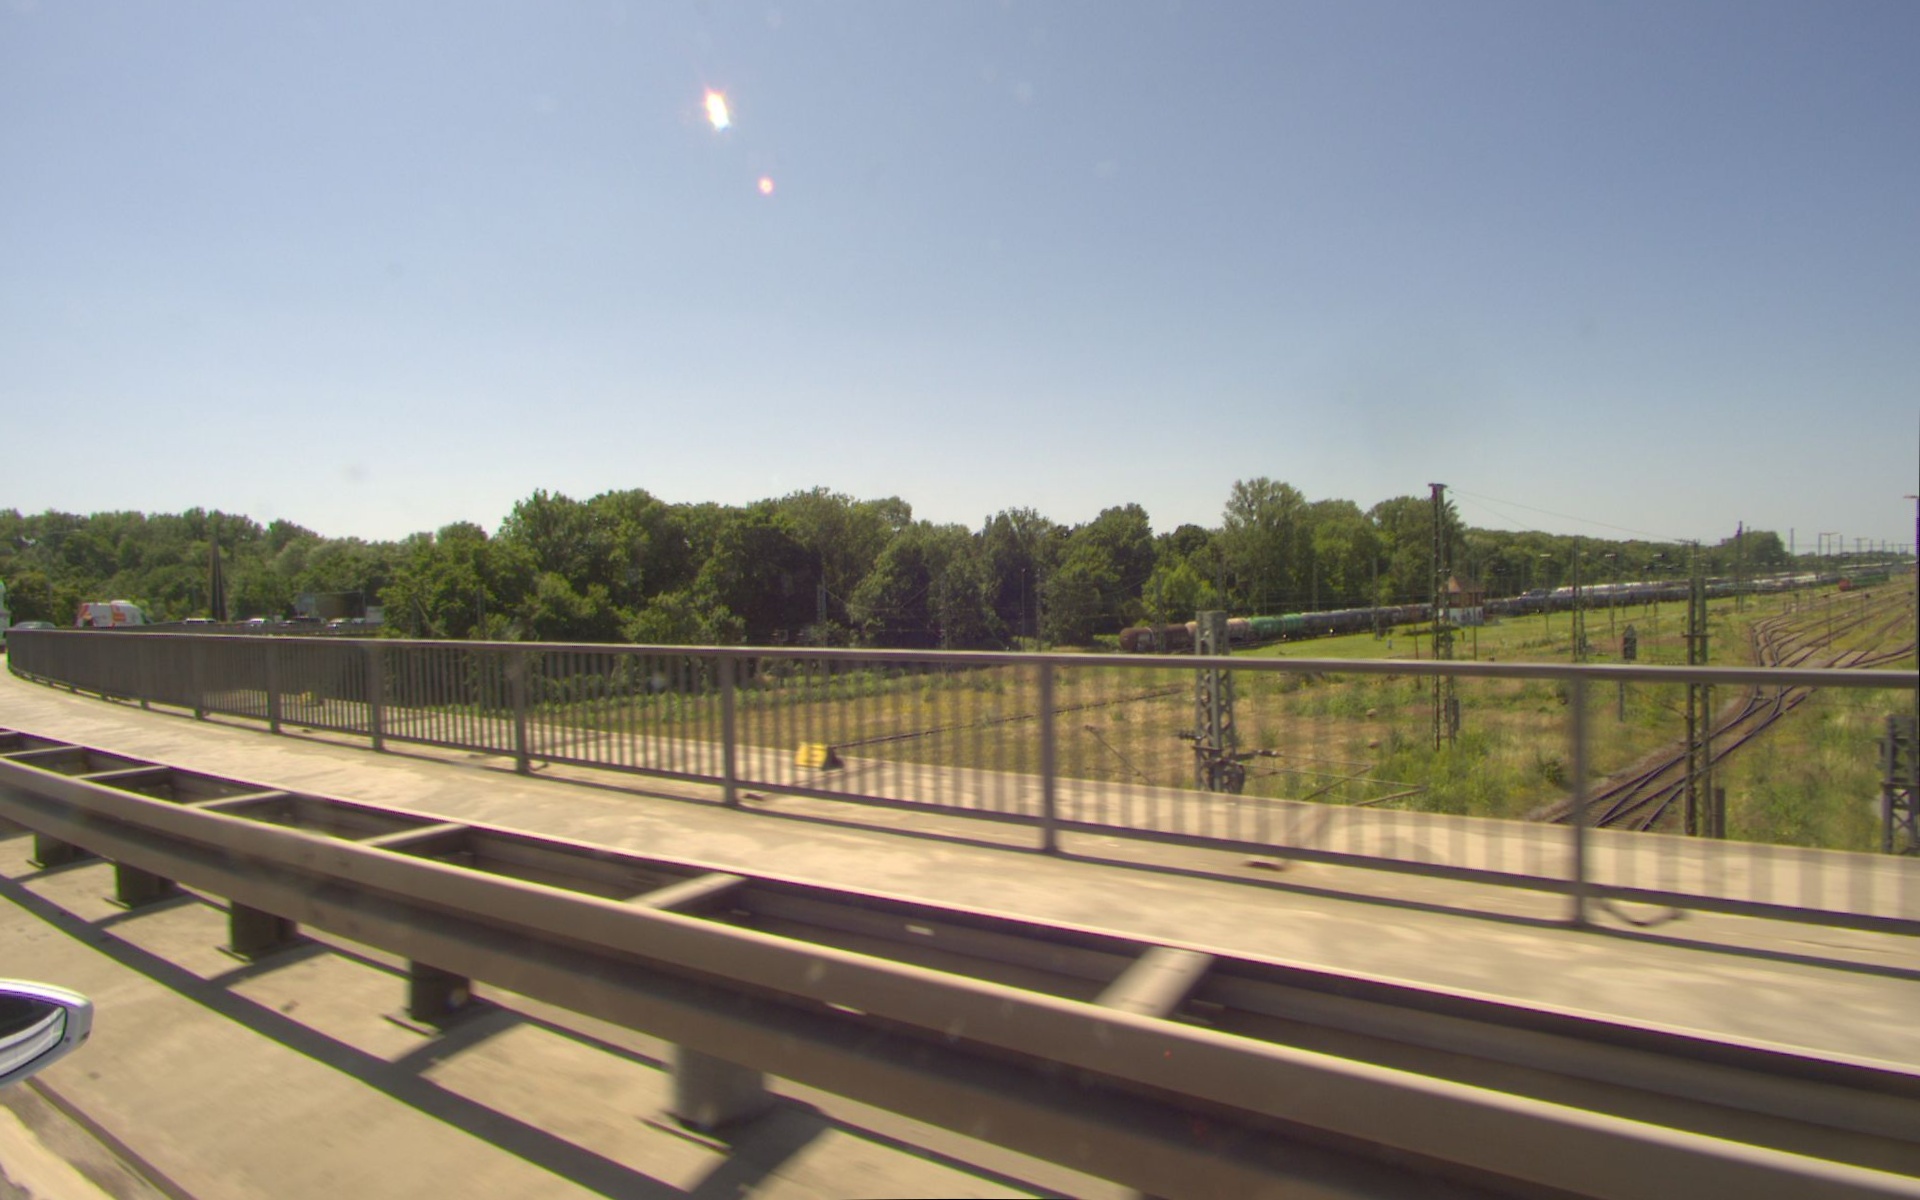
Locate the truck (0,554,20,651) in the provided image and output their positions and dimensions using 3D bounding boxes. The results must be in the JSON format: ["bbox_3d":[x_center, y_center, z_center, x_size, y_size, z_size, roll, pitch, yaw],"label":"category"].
[{"bbox_3d":[-47.722,0.138,47.706,3.139,4.643,7.350,1,-2,-34],"label":"truck"}]

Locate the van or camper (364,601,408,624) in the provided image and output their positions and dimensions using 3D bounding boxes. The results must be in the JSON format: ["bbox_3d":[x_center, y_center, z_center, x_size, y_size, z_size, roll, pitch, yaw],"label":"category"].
[{"bbox_3d":[-71.085,1.568,124.033,2.444,2.319,4.967,5,-5,-1],"label":"van or camper"}]

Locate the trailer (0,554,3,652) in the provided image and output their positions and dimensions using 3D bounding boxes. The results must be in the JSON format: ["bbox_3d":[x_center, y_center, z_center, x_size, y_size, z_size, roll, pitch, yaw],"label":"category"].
[{"bbox_3d":[-44.050,-0.044,42.138,3.103,4.673,12.869,1,-2,-33],"label":"trailer"}]

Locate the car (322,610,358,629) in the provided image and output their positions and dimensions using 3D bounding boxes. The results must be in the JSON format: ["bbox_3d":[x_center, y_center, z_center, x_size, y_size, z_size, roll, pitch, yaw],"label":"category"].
[{"bbox_3d":[-67.020,2.100,108.304,1.859,1.873,3.999,3,-2,-9],"label":"car"}]

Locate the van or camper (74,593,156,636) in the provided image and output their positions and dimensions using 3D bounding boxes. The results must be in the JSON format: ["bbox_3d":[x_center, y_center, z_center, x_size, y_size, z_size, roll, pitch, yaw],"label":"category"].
[{"bbox_3d":[-56.704,0.945,67.338,2.172,2.747,5.912,0,0,-19],"label":"van or camper"}]

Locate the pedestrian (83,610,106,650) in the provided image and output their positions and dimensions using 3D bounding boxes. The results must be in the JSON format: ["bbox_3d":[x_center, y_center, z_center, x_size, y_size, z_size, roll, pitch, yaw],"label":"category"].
[{"bbox_3d":[-43.946,1.511,50.854,0.729,1.992,0.730,0,-1,-32],"label":"pedestrian"}]
